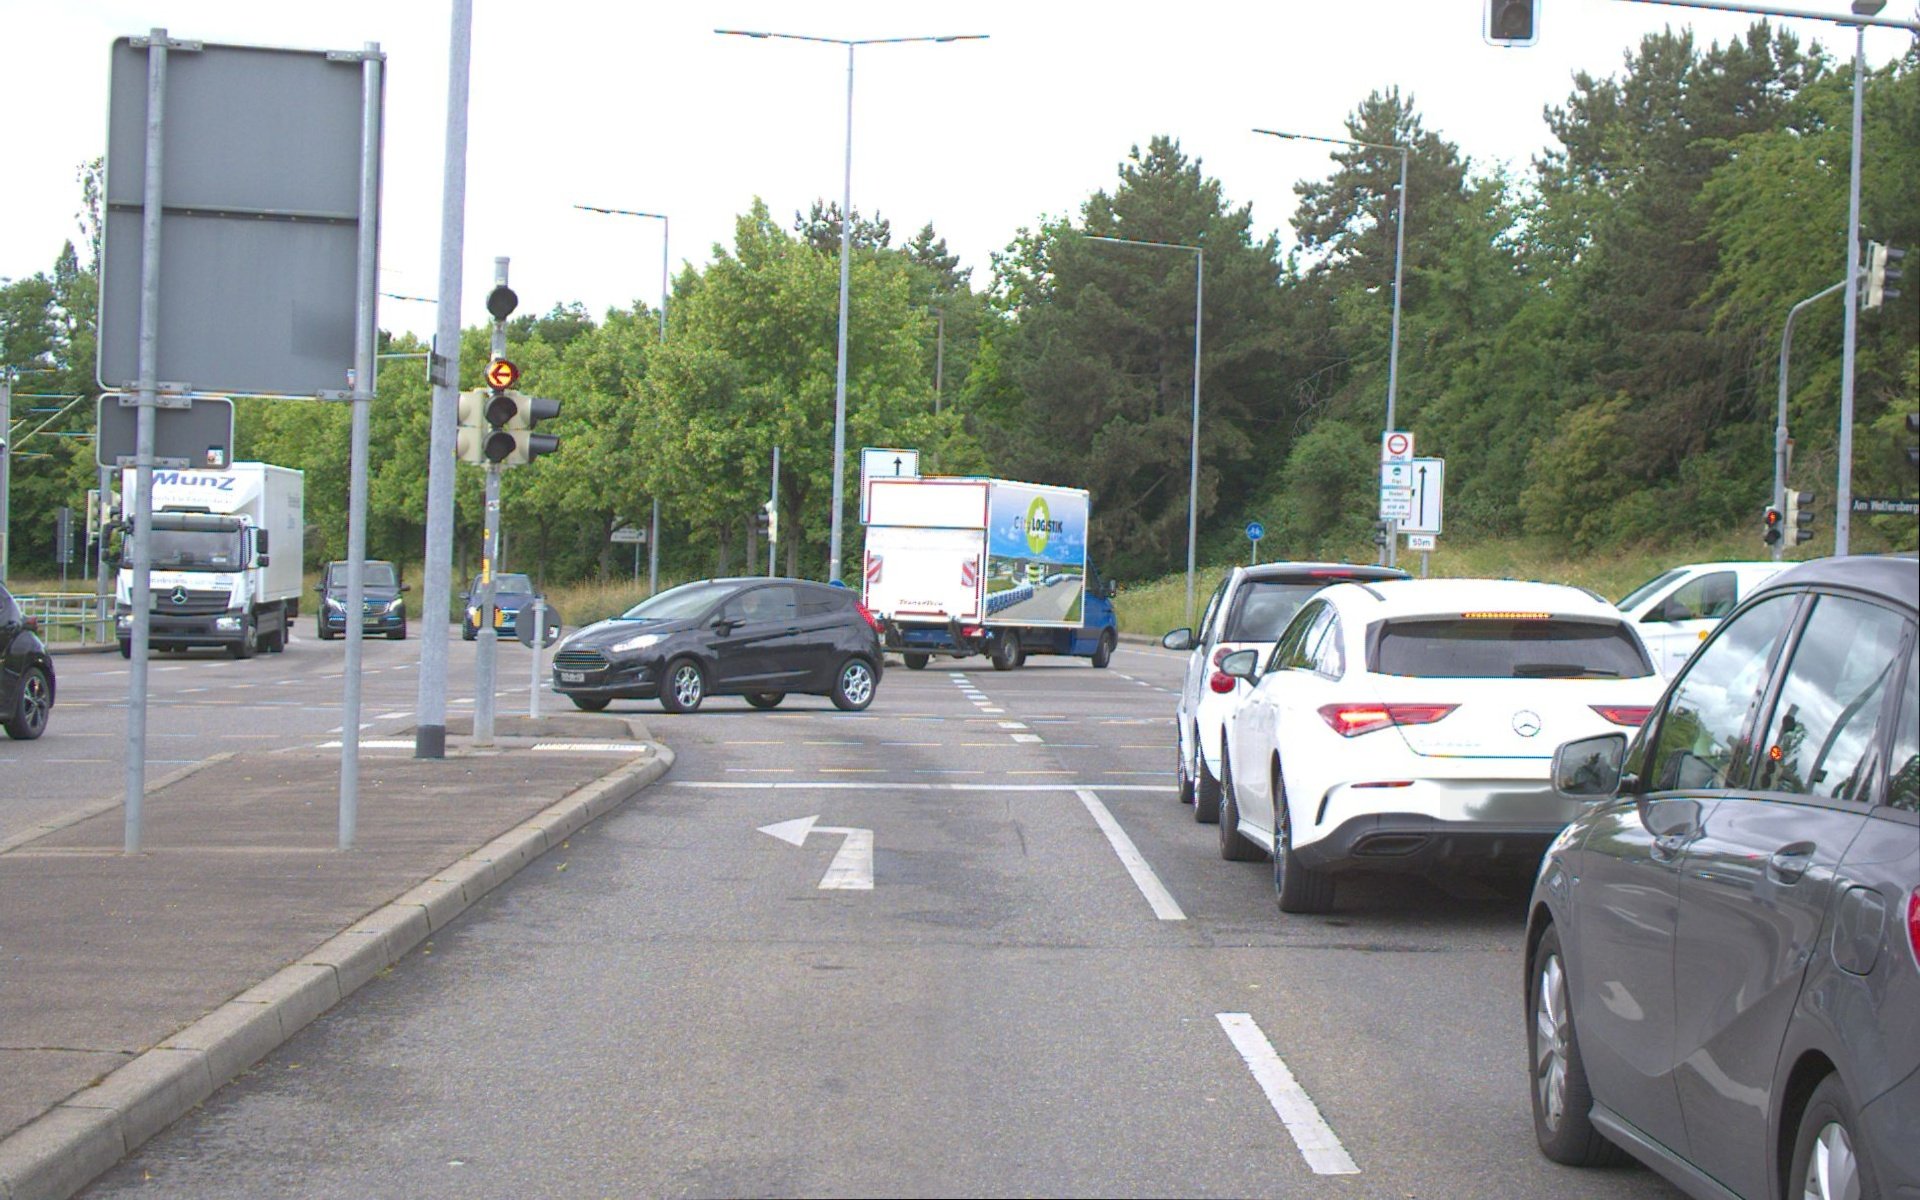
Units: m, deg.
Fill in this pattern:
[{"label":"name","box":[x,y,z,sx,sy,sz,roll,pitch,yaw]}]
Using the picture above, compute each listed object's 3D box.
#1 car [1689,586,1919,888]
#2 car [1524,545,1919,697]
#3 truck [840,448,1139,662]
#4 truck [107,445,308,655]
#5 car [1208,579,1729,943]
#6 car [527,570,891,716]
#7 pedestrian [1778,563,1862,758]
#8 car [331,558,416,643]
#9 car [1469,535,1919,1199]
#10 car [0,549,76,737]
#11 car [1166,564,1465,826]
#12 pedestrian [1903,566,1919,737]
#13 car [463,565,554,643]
[{"label":"car","box":[5.076,0.637,18.078,1.545,1.399,4.000,0,0,-1]},{"label":"car","box":[9.881,0.279,42.626,5.418,1.809,2.000,0,-1,-1]},{"label":"truck","box":[0.657,-0.762,62.212,2.686,3.586,7.254,2,0,23]},{"label":"truck","box":[-14.114,-0.916,65.129,2.659,3.637,9.504,1,0,-6]},{"label":"car","box":[2.186,0.627,15.882,1.721,1.417,4.357,1,1,0]},{"label":"car","box":[-2.698,0.433,37.470,3.767,1.475,1.638,-1,1,-43]},{"label":"pedestrian","box":[7.319,0.504,29.268,0.611,1.628,0.614,1,0,9]},{"label":"car","box":[-13.805,-0.015,81.084,1.915,1.721,4.002,0,4,-9]},{"label":"car","box":[2.208,0.630,7.064,1.799,1.518,4.187,0,1,2]},{"label":"car","box":[-8.554,0.352,27.104,1.594,1.491,3.938,0,1,10]},{"label":"car","box":[2.126,0.538,21.121,1.535,1.499,2.670,0,0,0]},{"label":"pedestrian","box":[9.208,0.477,31.663,0.864,1.555,0.518,1,1,-2]},{"label":"car","box":[-10.566,0.060,80.296,1.915,1.570,4.002,0,4,-10]}]
